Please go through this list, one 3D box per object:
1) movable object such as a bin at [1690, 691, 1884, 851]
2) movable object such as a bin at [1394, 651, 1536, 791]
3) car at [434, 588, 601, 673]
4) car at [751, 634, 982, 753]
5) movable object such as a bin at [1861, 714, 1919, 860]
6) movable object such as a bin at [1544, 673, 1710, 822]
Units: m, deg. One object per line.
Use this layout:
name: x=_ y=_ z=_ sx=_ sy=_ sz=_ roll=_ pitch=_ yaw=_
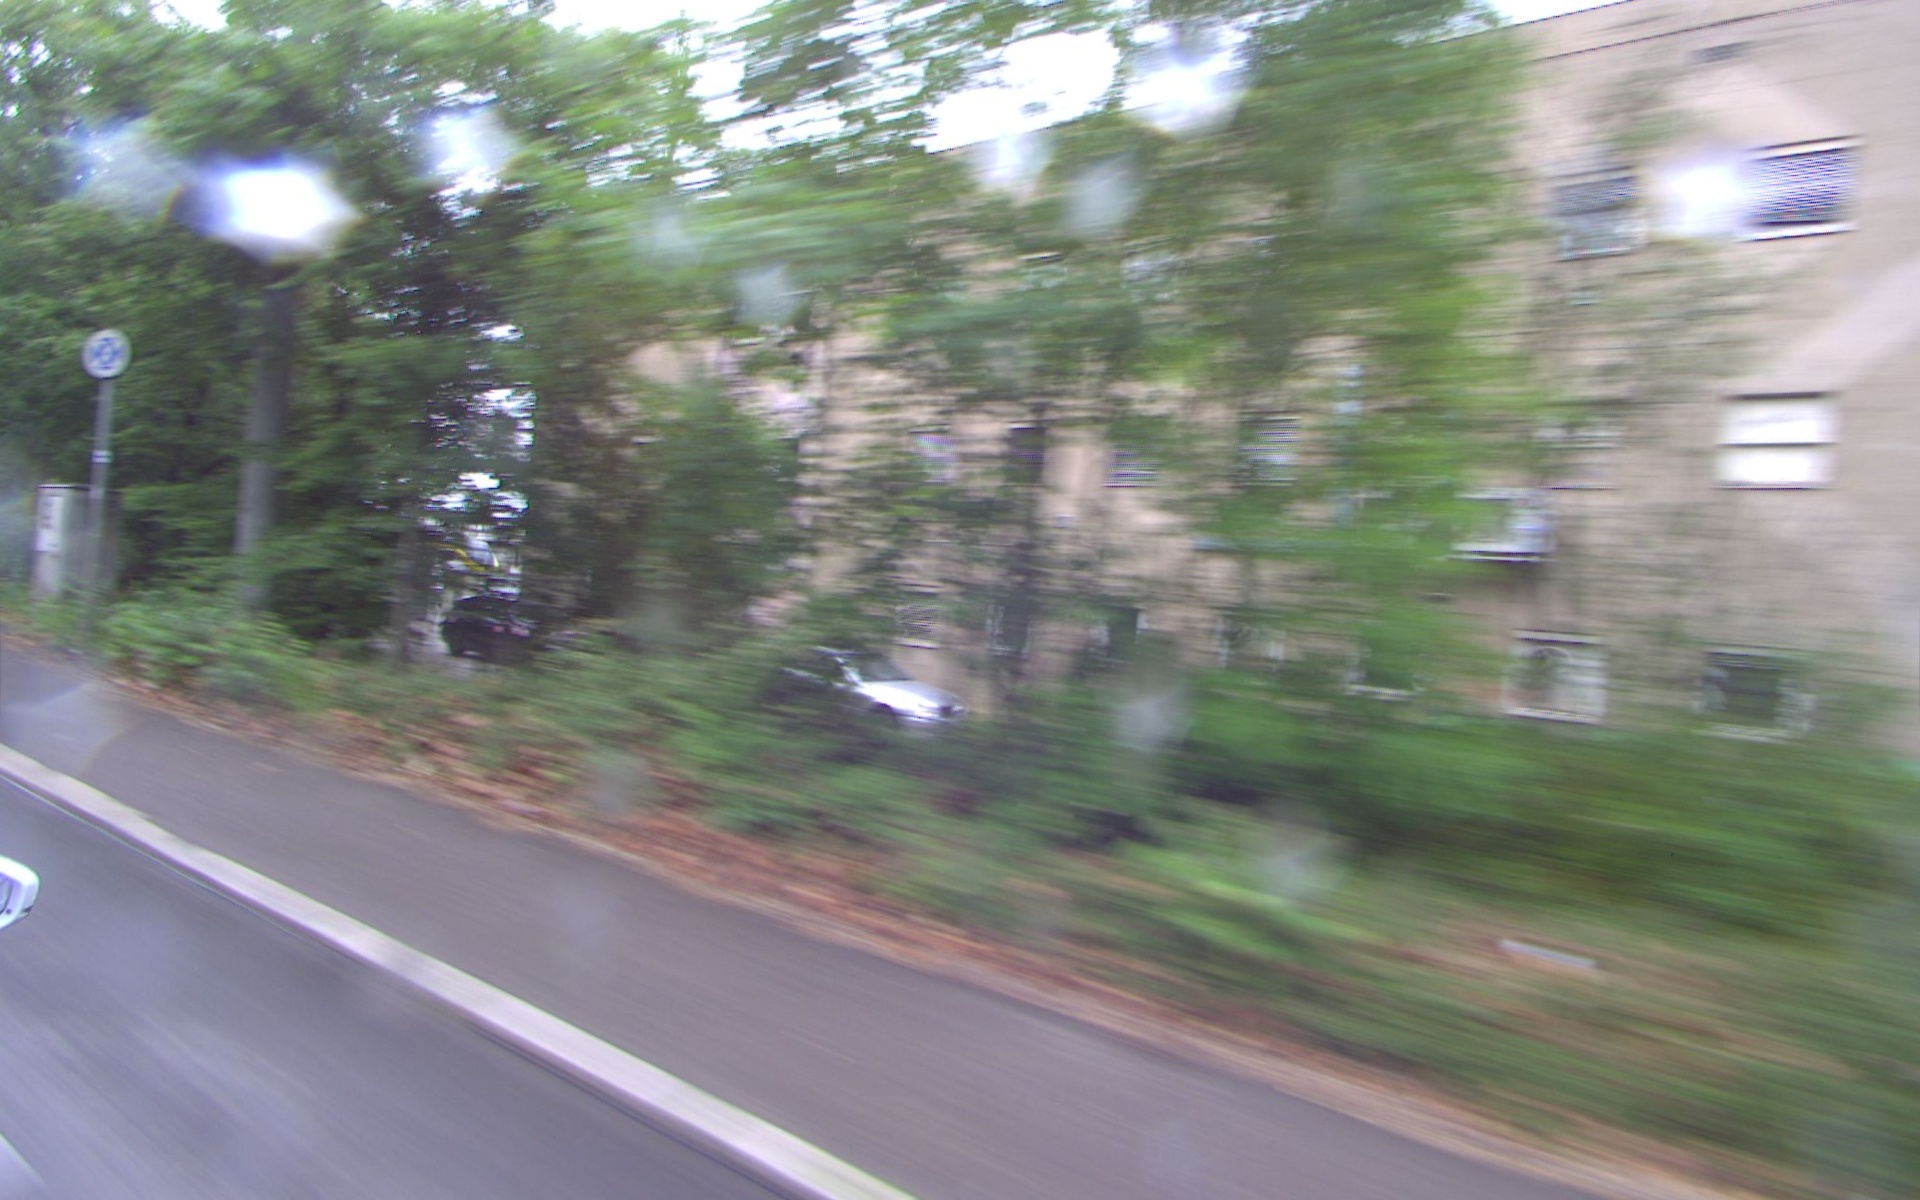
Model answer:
movable object such as a bin: x=9.141 y=1.837 z=11.230 sx=1.396 sy=1.434 sz=1.305 roll=7 pitch=1 yaw=33
movable object such as a bin: x=6.418 y=1.472 z=12.770 sx=1.335 sy=1.437 sz=1.270 roll=7 pitch=5 yaw=33
car: x=-9.961 y=0.661 z=22.548 sx=3.938 sy=1.482 sz=1.553 roll=5 pitch=0 yaw=36
car: x=-1.642 y=1.534 z=17.221 sx=3.634 sy=1.475 sz=1.550 roll=6 pitch=0 yaw=32
movable object such as a bin: x=10.607 y=2.040 z=10.633 sx=1.310 sy=1.434 sz=1.213 roll=7 pitch=1 yaw=33
movable object such as a bin: x=7.818 y=1.673 z=11.859 sx=1.408 sy=1.434 sz=1.305 roll=7 pitch=1 yaw=33
